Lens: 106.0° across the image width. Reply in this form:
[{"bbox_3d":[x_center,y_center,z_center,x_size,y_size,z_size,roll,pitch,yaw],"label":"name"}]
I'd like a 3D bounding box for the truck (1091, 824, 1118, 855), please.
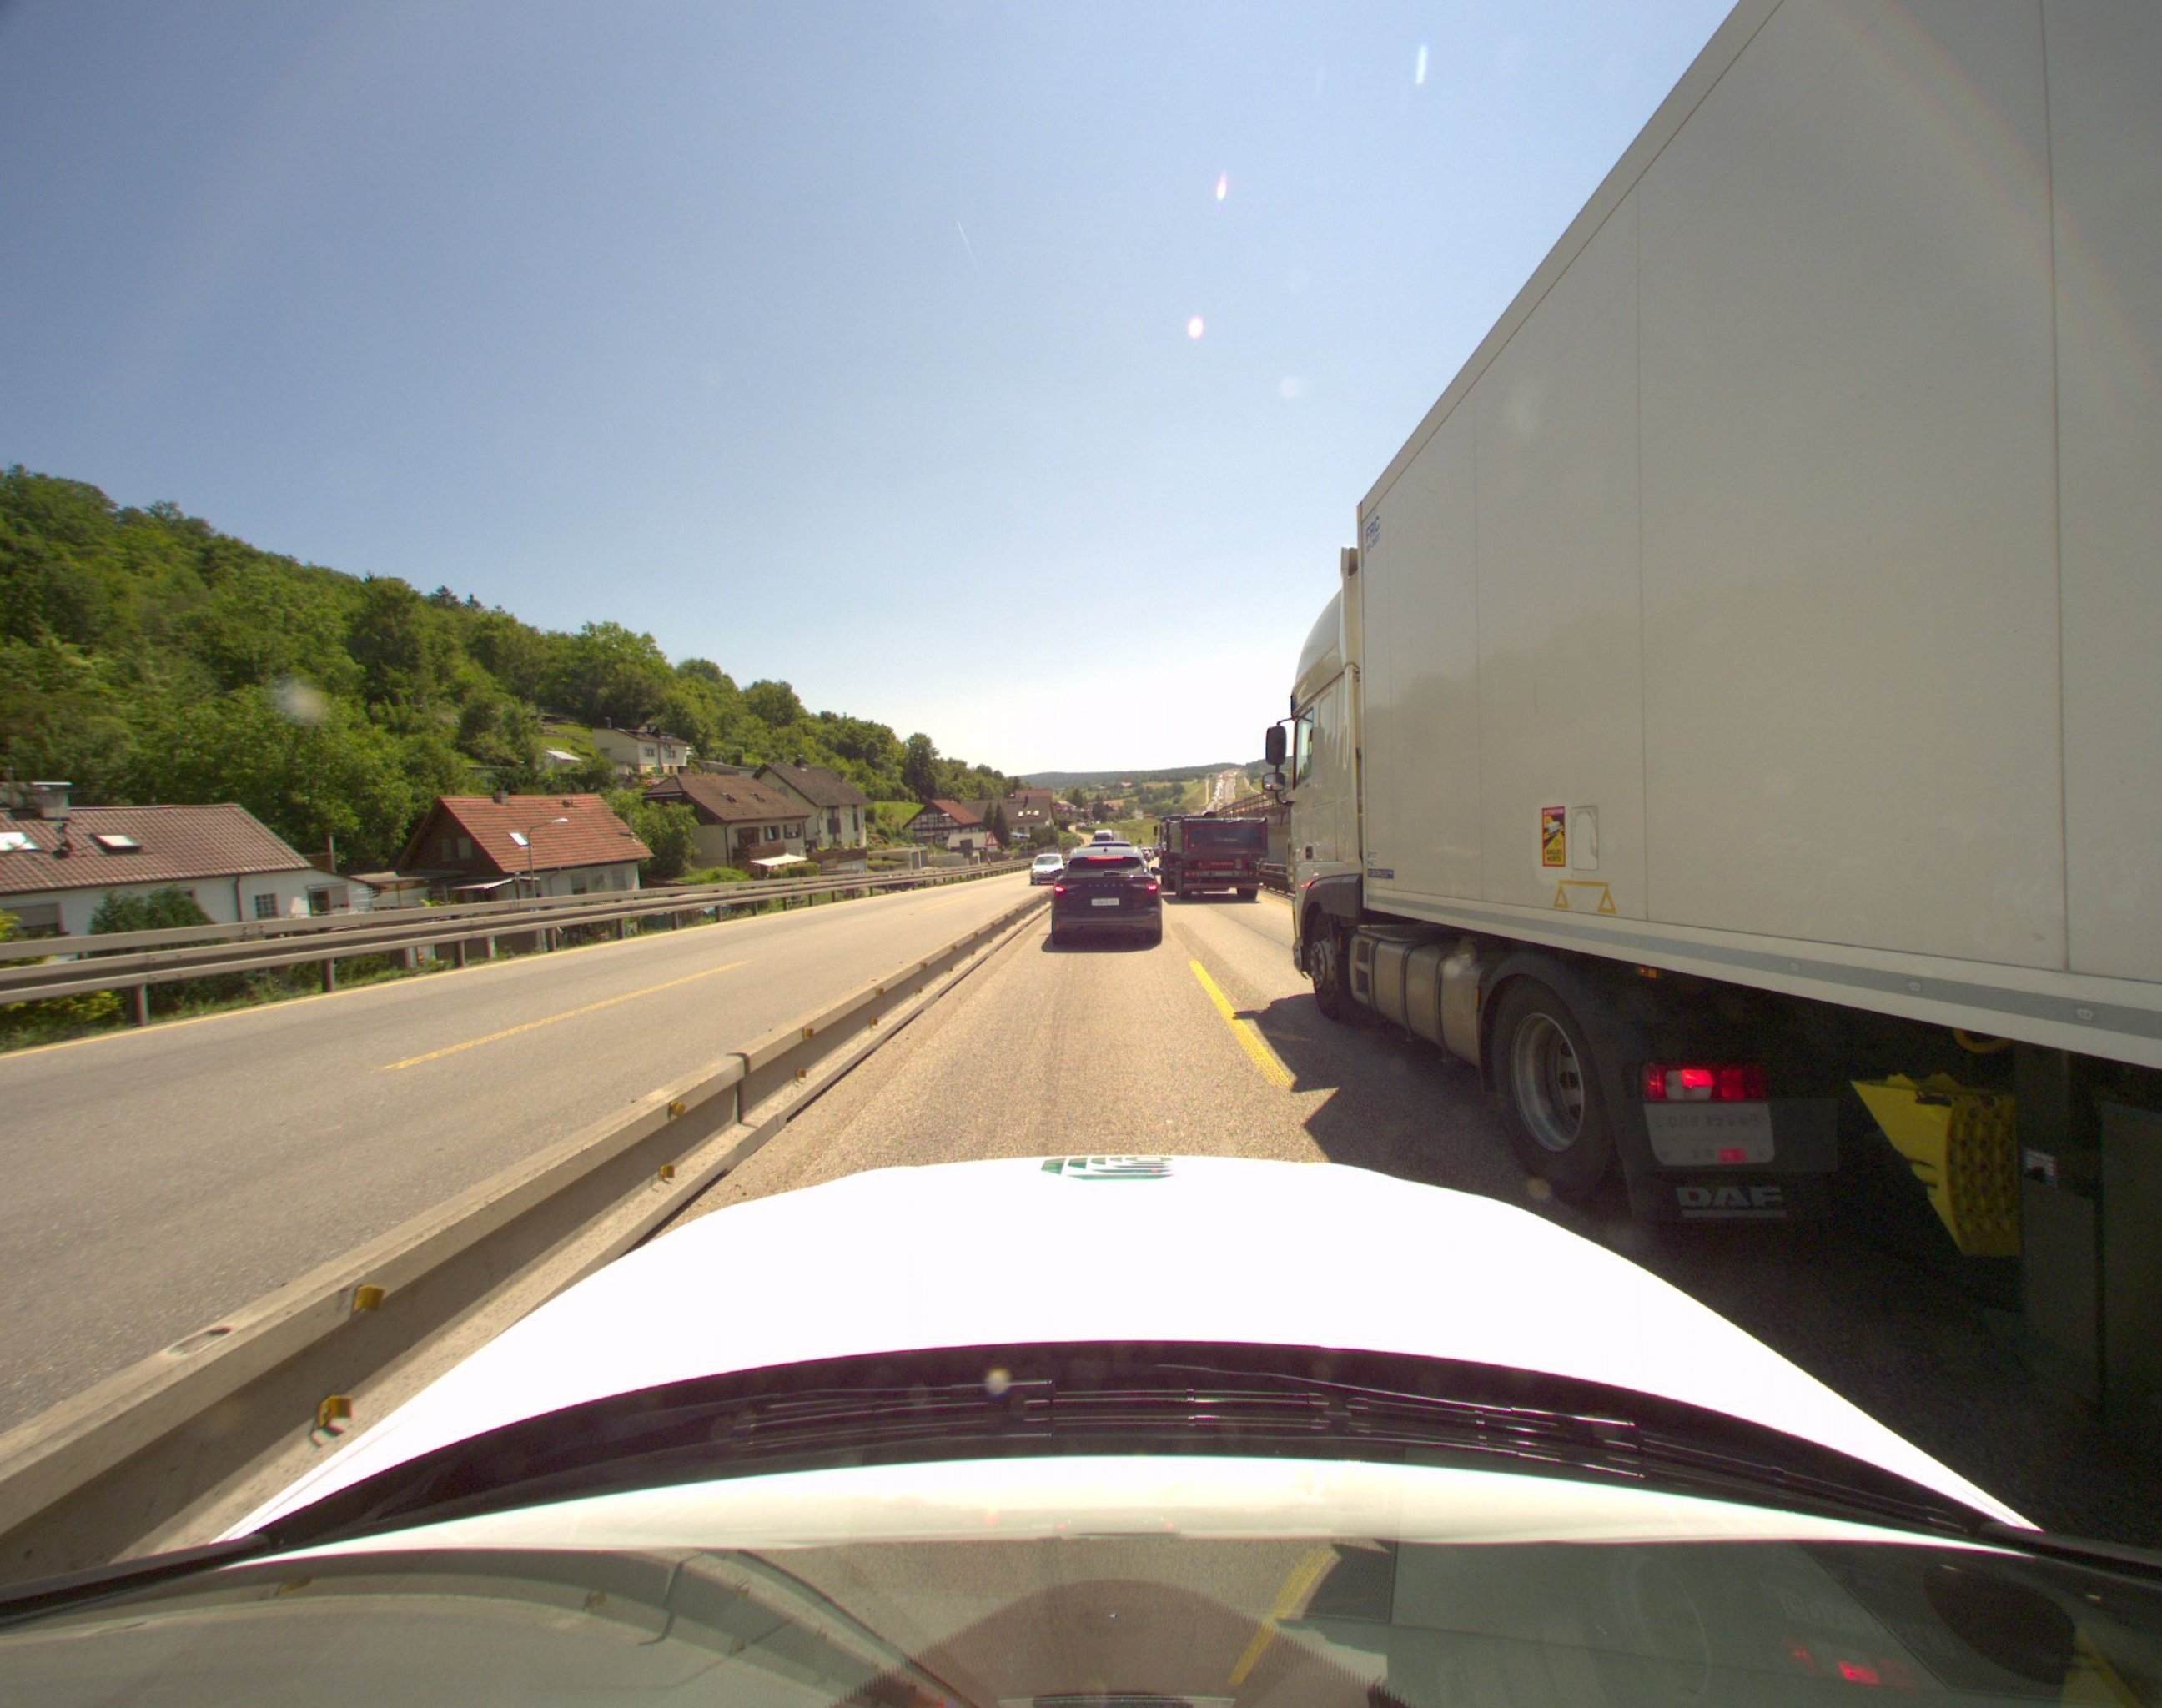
[{"bbox_3d":[3.494,-2.053,118.562,3.287,4.362,8.313,0,0,5],"label":"truck"}]

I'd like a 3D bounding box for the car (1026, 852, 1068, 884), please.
[{"bbox_3d":[-1.639,0.648,40.264,1.740,1.426,3.711,-1,1,2],"label":"car"}]

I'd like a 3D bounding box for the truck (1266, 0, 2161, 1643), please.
[{"bbox_3d":[3.173,-0.662,4.788,2.504,4.025,8.240,0,0,2],"label":"truck"}]

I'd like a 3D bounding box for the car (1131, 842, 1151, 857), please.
[{"bbox_3d":[6.574,-0.453,88.666,1.983,1.585,3.842,0,0,6],"label":"car"}]

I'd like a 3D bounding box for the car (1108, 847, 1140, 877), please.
[{"bbox_3d":[2.424,0.408,46.792,1.700,1.622,4.002,0,1,1],"label":"car"}]

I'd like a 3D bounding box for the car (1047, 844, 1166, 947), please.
[{"bbox_3d":[0.444,0.646,14.517,1.836,1.586,3.908,0,0,1],"label":"car"}]

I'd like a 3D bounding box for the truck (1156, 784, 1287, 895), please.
[{"bbox_3d":[4.670,-0.388,30.121,3.182,3.191,12.817,-1,0,3],"label":"truck"}]

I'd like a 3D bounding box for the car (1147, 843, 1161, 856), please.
[{"bbox_3d":[10.396,-0.652,115.870,1.690,1.727,3.846,0,0,10],"label":"car"}]

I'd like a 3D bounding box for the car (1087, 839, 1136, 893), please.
[{"bbox_3d":[1.110,0.384,30.416,1.700,1.881,4.002,0,1,1],"label":"car"}]

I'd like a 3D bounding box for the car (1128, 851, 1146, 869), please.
[{"bbox_3d":[5.402,0.527,78.222,1.699,1.622,4.006,0,1,5],"label":"car"}]

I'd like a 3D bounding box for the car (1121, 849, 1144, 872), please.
[{"bbox_3d":[4.087,0.476,63.831,1.699,1.622,4.006,0,1,5],"label":"car"}]

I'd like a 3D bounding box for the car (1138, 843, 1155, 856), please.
[{"bbox_3d":[8.148,-0.597,101.549,1.983,1.585,3.842,0,0,6],"label":"car"}]
